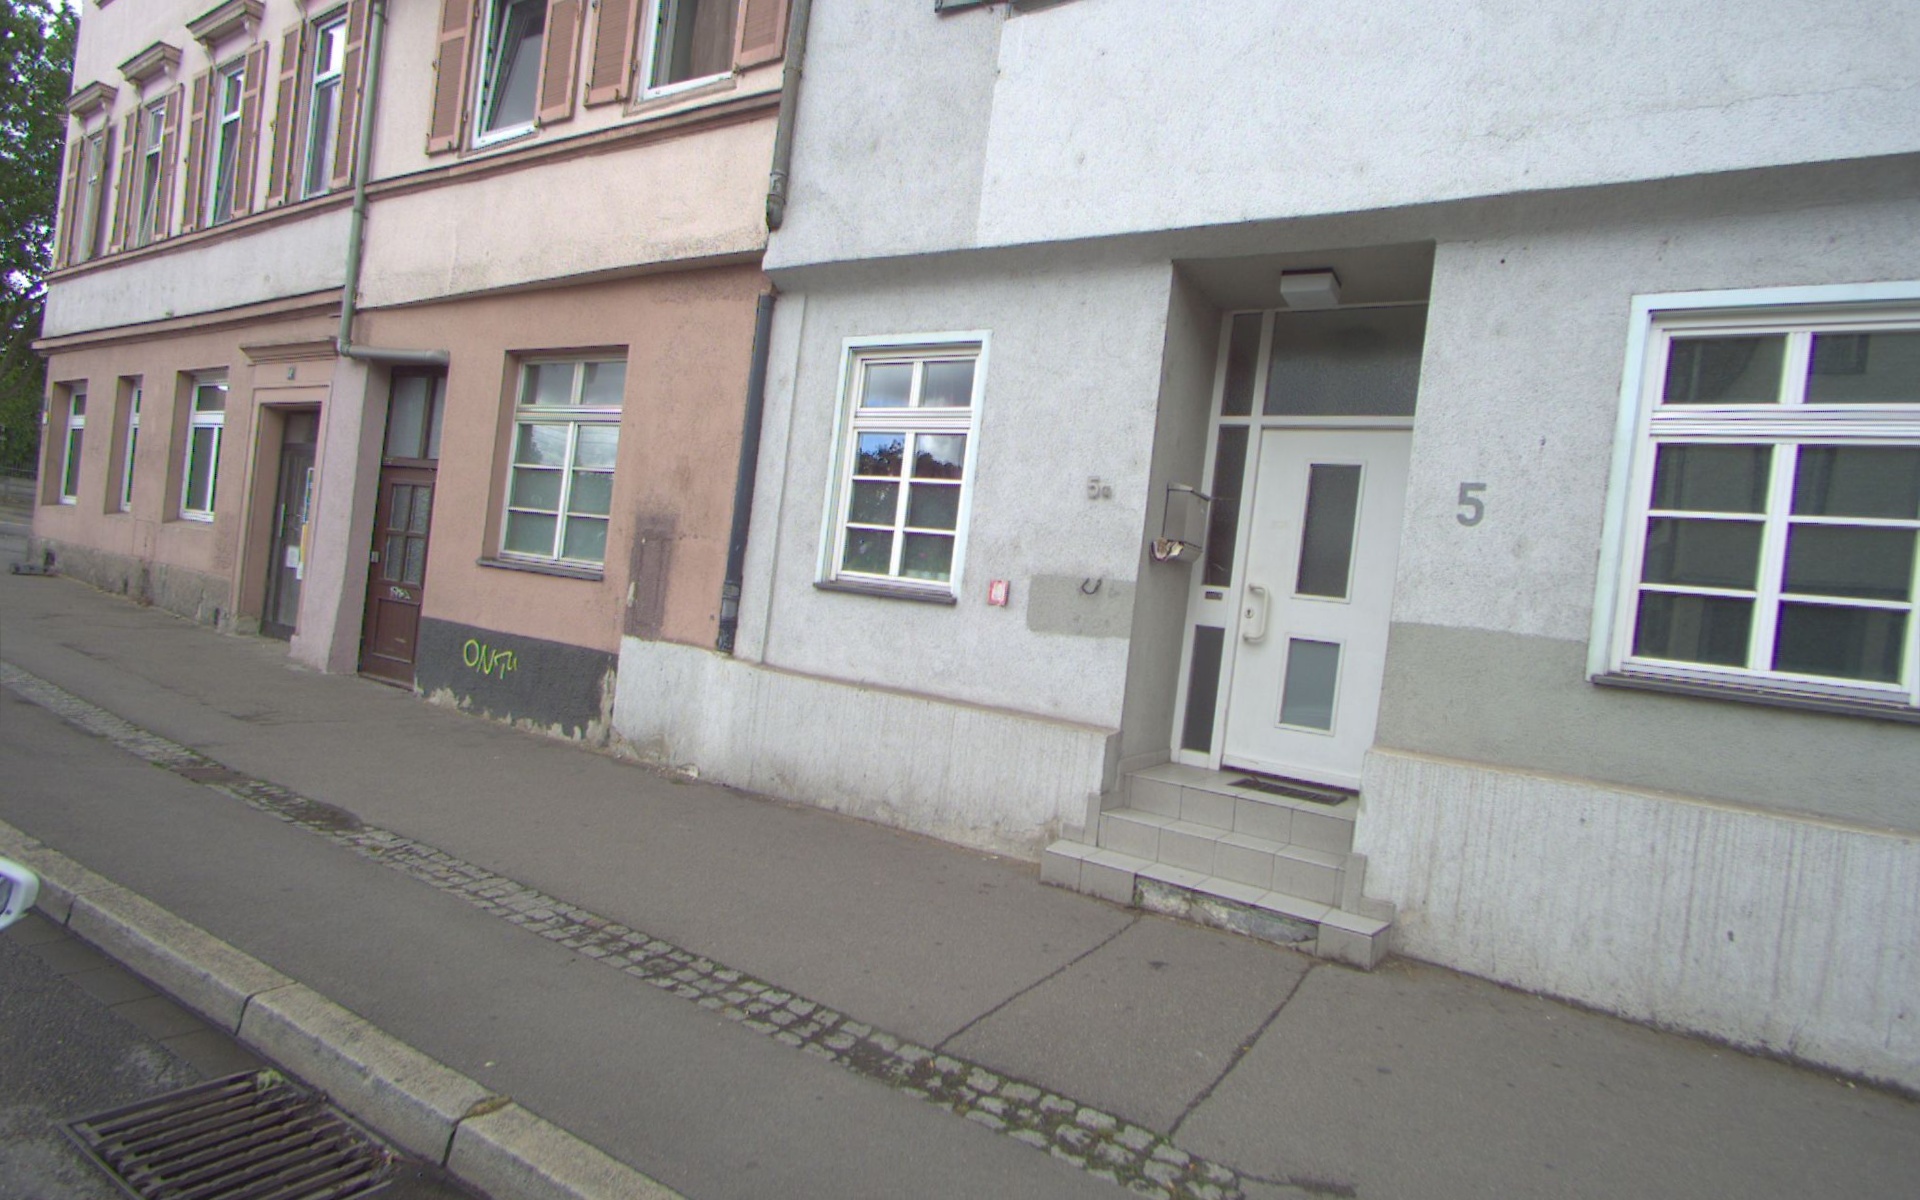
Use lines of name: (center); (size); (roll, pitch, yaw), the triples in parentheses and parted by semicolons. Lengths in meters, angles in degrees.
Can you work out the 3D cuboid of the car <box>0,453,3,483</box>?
car: (-21.807, -2.507, 19.713); (1.799, 1.593, 4.071); (9, 1, 34)
